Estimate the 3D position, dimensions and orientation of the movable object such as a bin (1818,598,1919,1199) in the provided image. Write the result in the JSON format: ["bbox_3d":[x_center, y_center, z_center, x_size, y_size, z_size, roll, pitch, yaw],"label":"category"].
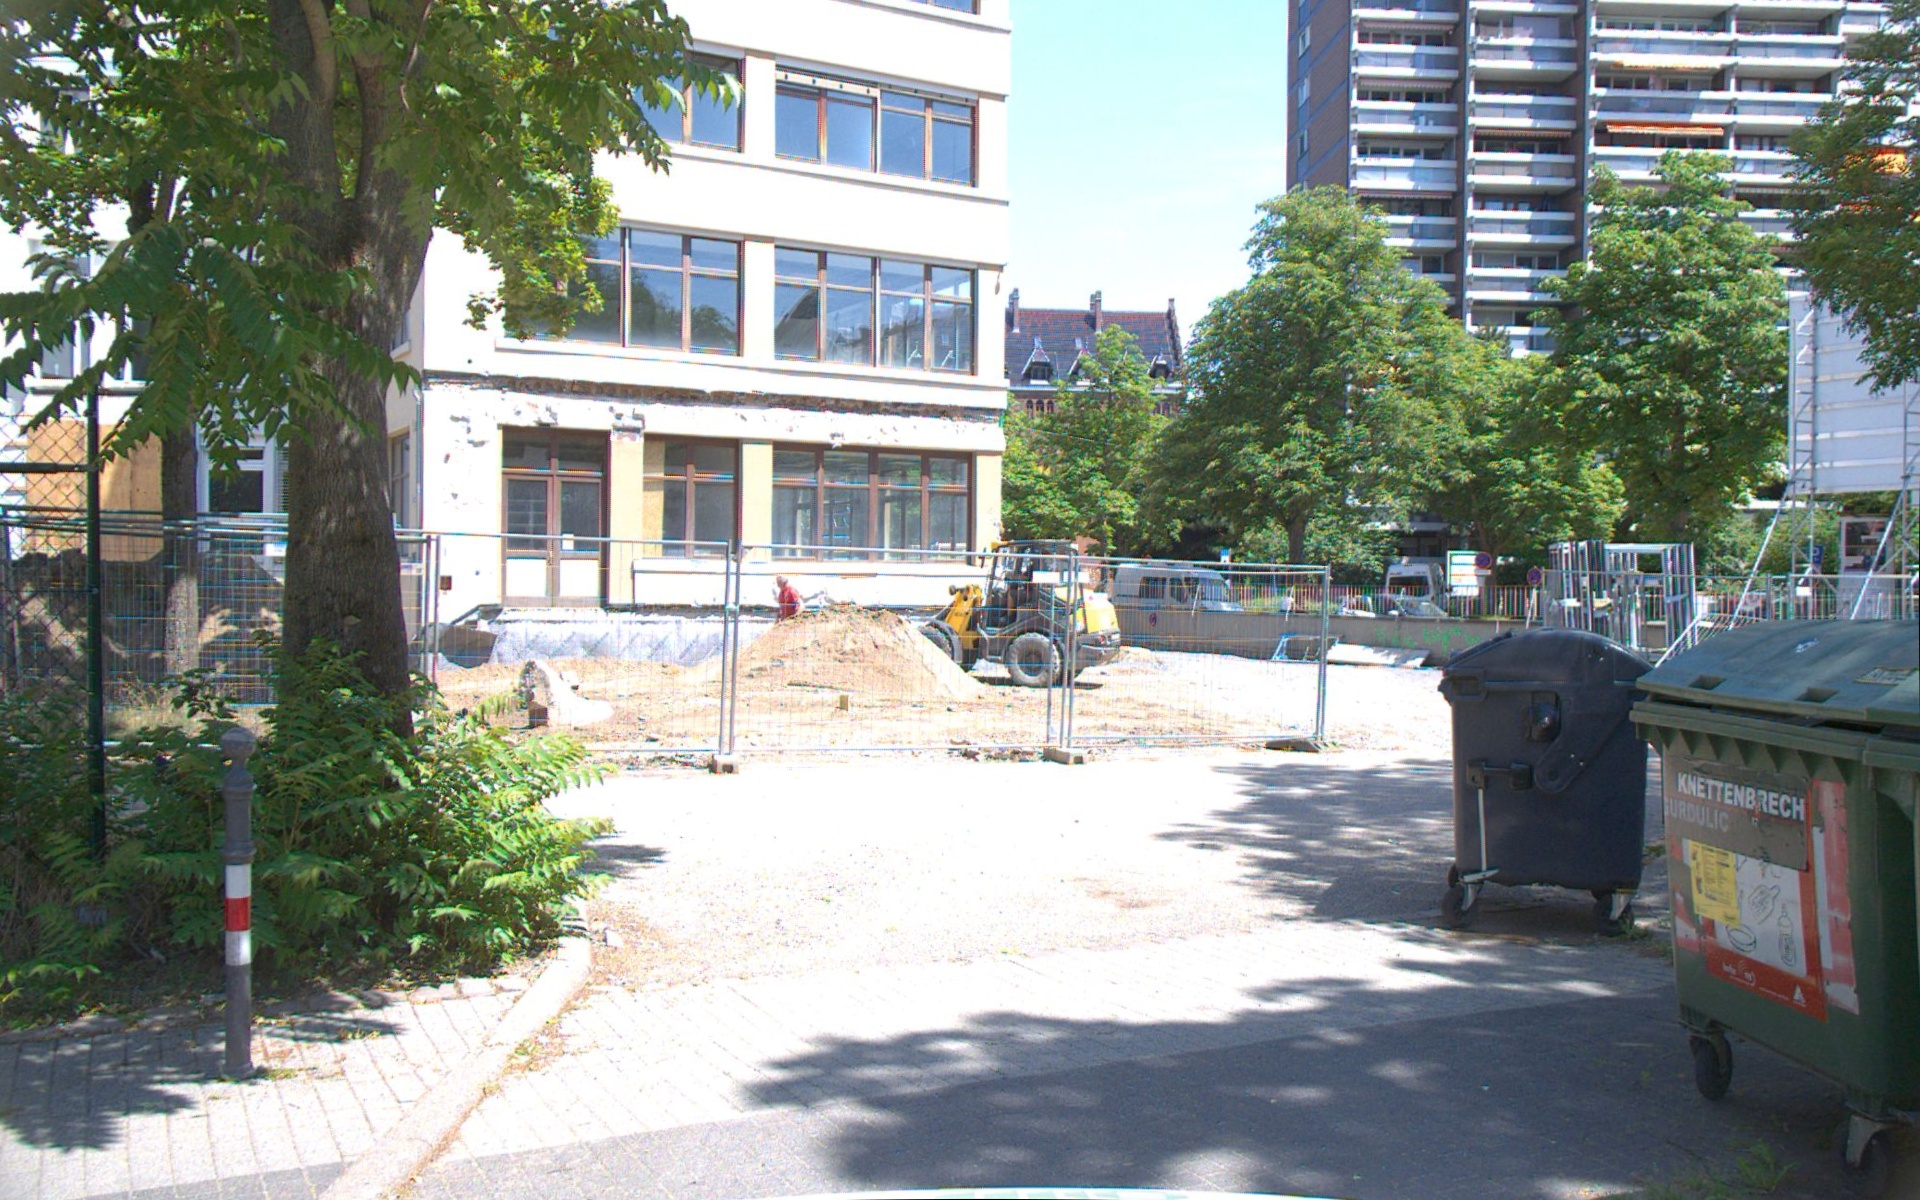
[{"bbox_3d":[2.627,0.740,3.360,1.053,1.483,1.377,0,0,0],"label":"movable object such as a bin"}]

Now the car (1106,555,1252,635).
[{"bbox_3d":[7.028,-0.170,53.637,1.972,2.458,5.191,0,0,-30],"label":"car"}]

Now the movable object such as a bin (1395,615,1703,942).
[{"bbox_3d":[2.891,0.826,8.295,1.053,1.483,1.377,0,0,0],"label":"movable object such as a bin"}]

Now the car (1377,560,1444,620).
[{"bbox_3d":[17.977,-0.388,65.832,2.139,2.297,4.869,0,0,20],"label":"car"}]

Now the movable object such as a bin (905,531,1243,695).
[{"bbox_3d":[1.979,0.165,28.640,5.294,2.507,2.367,2,1,23],"label":"movable object such as a bin"}]

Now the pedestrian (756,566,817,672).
[{"bbox_3d":[-3.113,0.332,29.734,0.894,1.879,0.987,0,0,6],"label":"pedestrian"}]

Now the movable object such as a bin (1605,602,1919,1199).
[{"bbox_3d":[2.661,0.753,4.783,1.053,1.483,1.377,0,0,0],"label":"movable object such as a bin"}]
